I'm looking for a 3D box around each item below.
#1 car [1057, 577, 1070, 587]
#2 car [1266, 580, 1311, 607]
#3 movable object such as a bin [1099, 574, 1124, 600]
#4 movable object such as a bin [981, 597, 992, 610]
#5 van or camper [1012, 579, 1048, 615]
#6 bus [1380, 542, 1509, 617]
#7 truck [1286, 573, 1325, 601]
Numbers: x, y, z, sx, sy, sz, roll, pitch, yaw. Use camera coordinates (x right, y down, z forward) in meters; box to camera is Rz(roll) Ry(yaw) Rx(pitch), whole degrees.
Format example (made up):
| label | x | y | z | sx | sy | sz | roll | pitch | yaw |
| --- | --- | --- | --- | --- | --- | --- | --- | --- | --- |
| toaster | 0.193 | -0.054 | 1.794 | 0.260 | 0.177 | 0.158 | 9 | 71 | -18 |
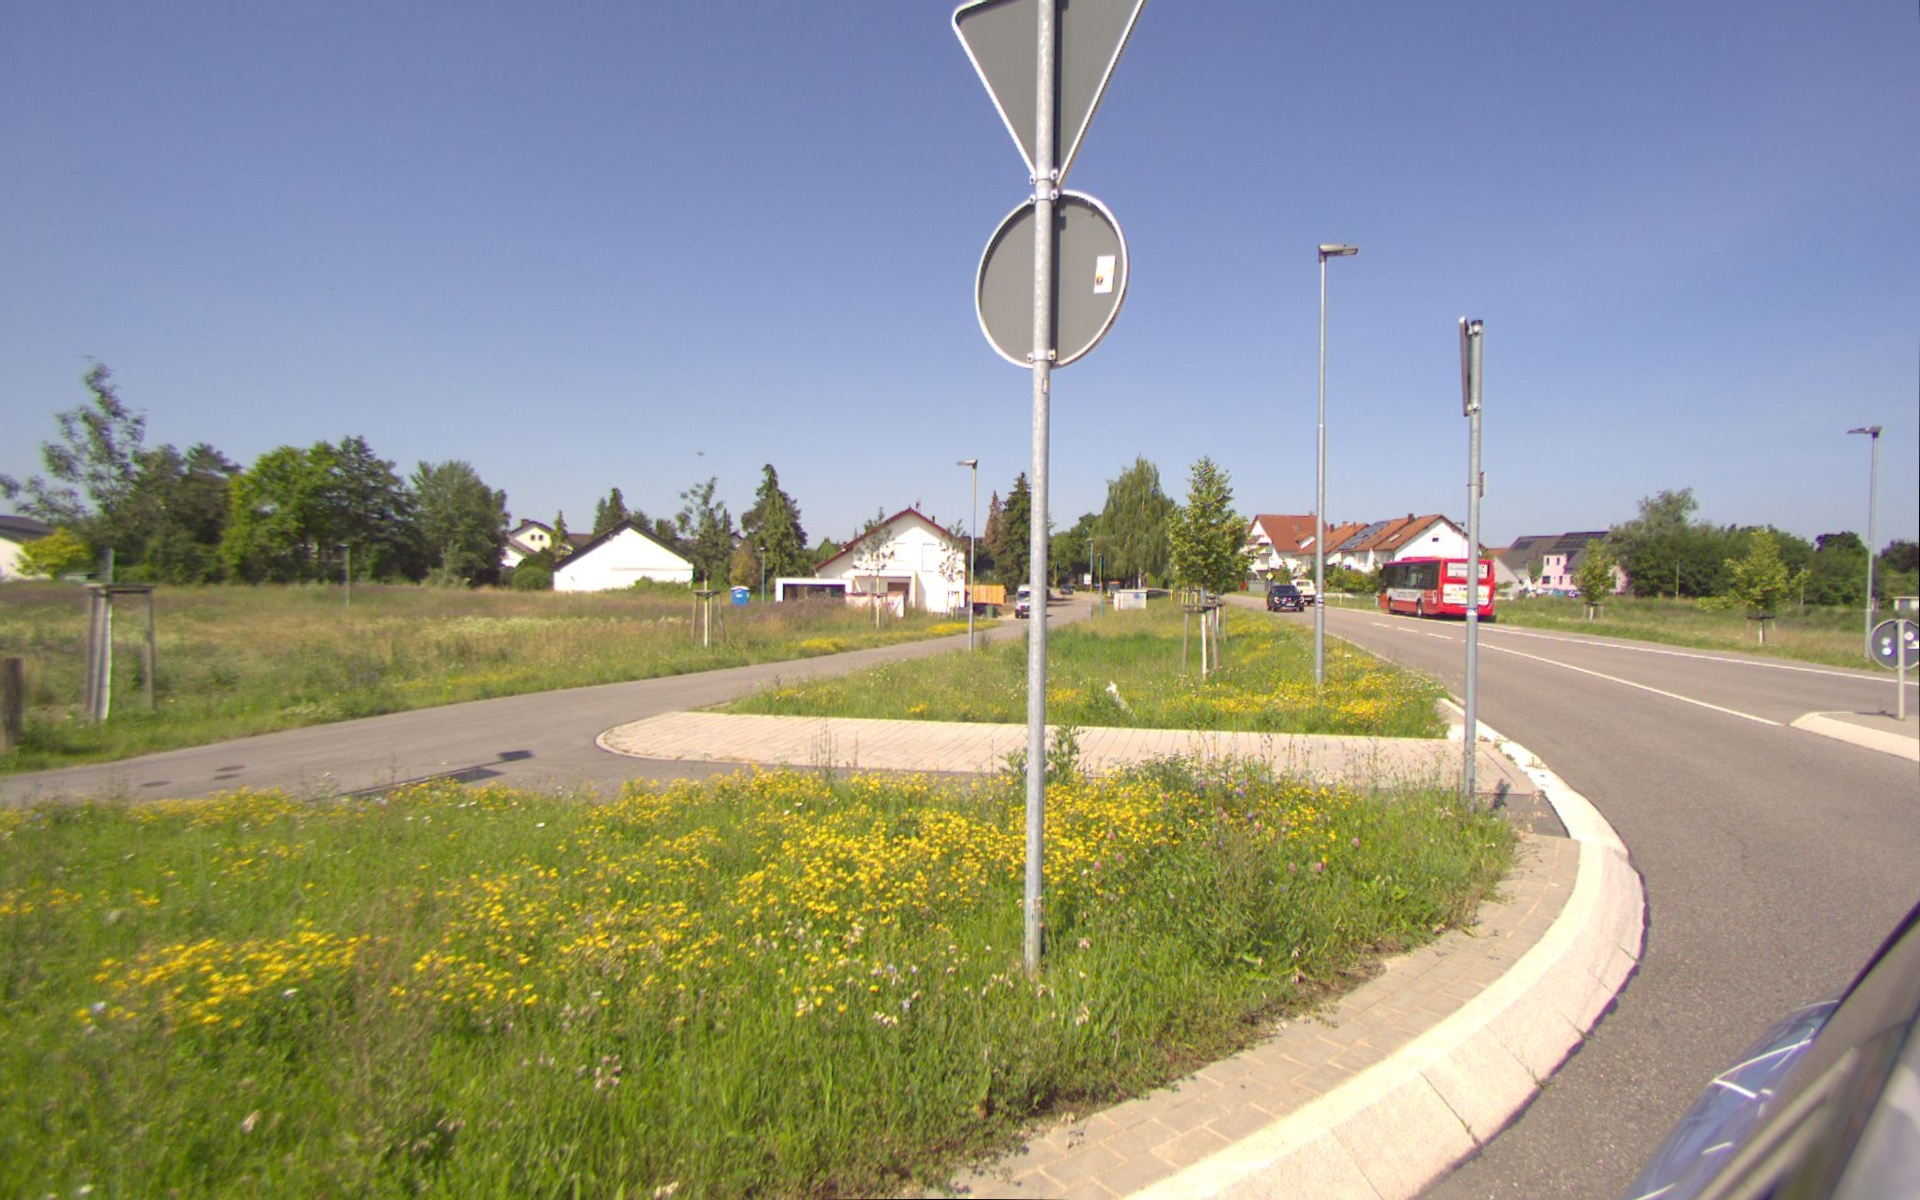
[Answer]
| label | x | y | z | sx | sy | sz | roll | pitch | yaw |
| --- | --- | --- | --- | --- | --- | --- | --- | --- | --- |
| car | 16.265 | -2.814 | 158.777 | 1.832 | 1.463 | 4.162 | -1 | 2 | 7 |
| car | 20.320 | -0.412 | 62.794 | 1.902 | 1.581 | 3.991 | 1 | 1 | 8 |
| movable object such as a bin | 15.228 | -1.268 | 101.379 | 2.286 | 2.494 | 6.924 | -1 | 0 | 10 |
| movable object such as a bin | 2.006 | 0.273 | 77.229 | 0.685 | 0.949 | 0.635 | 1 | 1 | 15 |
| van or camper | 5.513 | -0.268 | 79.379 | 2.144 | 2.632 | 6.014 | 0 | 2 | 11 |
| bus | 25.036 | -1.087 | 53.093 | 2.759 | 3.327 | 12.194 | 3 | 2 | 10 |
| truck | 26.200 | -1.004 | 76.988 | 1.926 | 2.009 | 5.628 | 0 | 1 | 10 |
